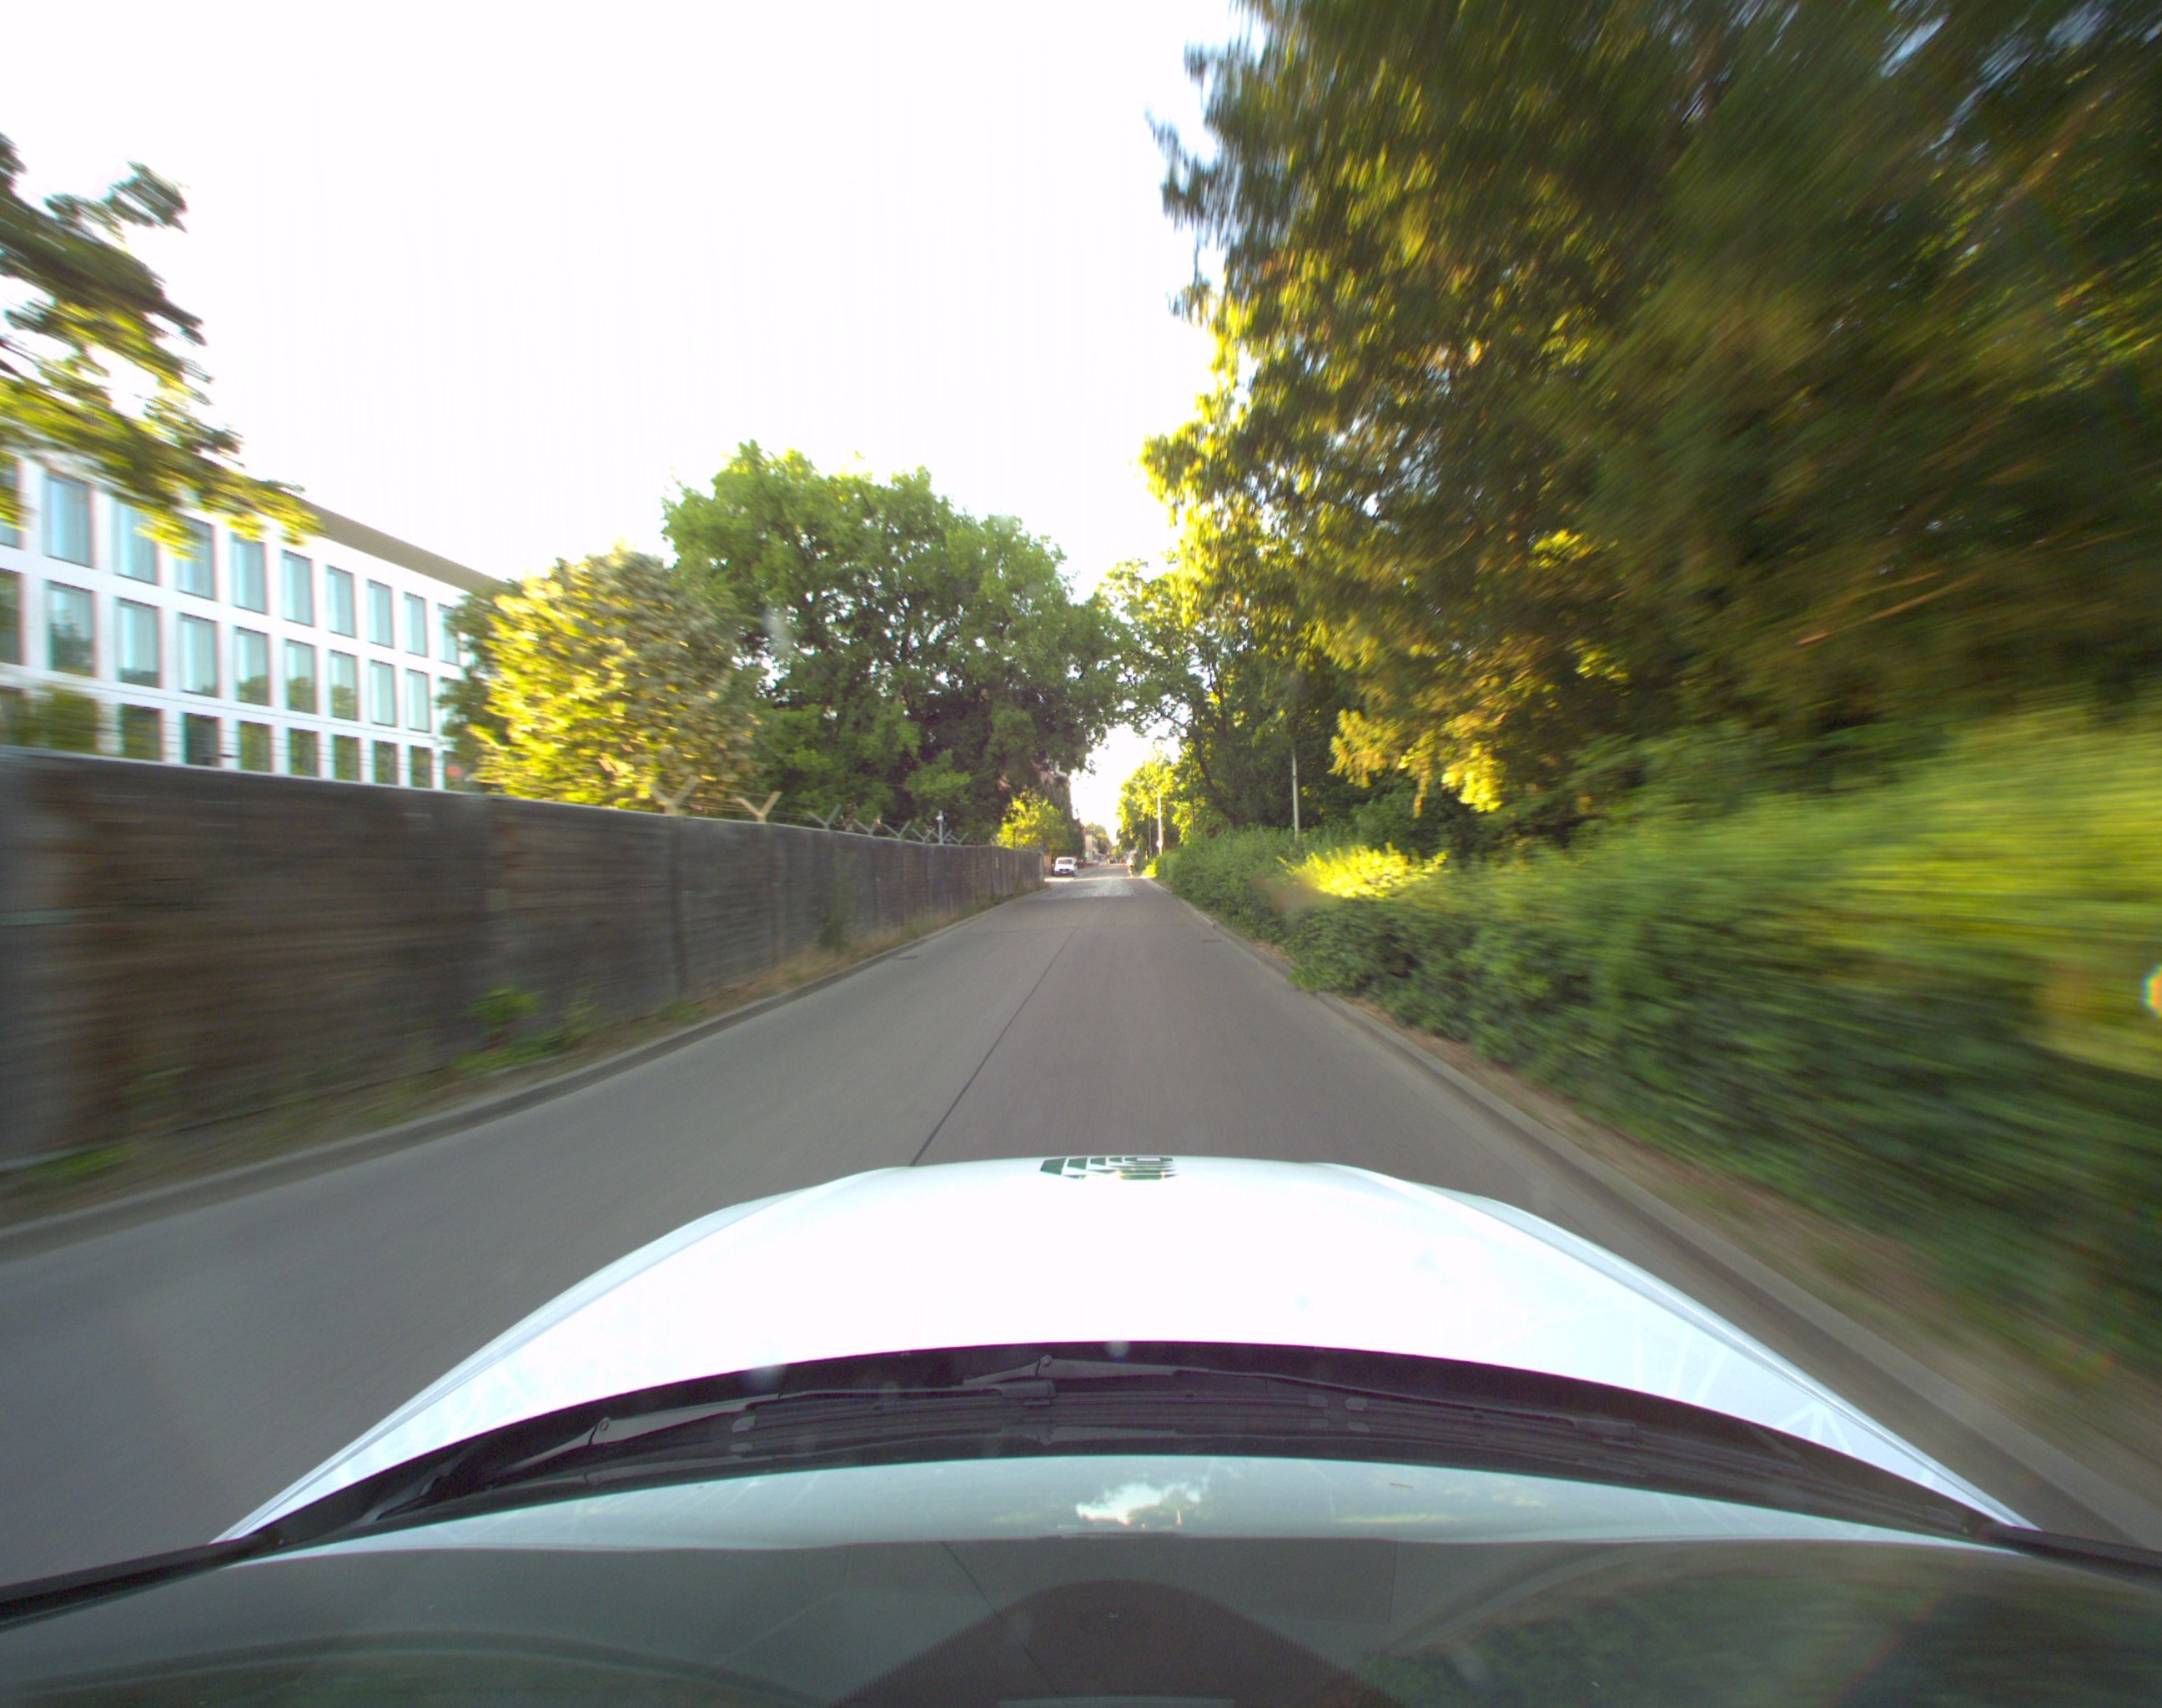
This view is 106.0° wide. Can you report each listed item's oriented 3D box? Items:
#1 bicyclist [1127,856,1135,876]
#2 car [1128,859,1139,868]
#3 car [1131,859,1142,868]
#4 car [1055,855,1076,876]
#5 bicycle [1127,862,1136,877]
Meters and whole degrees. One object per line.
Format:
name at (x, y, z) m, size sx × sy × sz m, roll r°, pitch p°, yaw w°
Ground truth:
bicyclist at (4.255, 1.016, 69.121) m, size 0.637 × 1.667 × 0.843 m, roll -1°, pitch -1°, yaw 0°
car at (9.795, 1.768, 152.672) m, size 1.710 × 1.538 × 4.048 m, roll -3°, pitch -1°, yaw 1°
car at (9.482, 1.609, 139.069) m, size 1.679 × 1.447 × 3.671 m, roll -5°, pitch -2°, yaw 1°
car at (-1.458, 1.188, 79.914) m, size 1.876 × 2.014 × 5.226 m, roll -1°, pitch -2°, yaw 1°
bicycle at (4.256, 1.312, 69.064) m, size 0.636 × 1.193 × 1.876 m, roll -1°, pitch -1°, yaw 1°
